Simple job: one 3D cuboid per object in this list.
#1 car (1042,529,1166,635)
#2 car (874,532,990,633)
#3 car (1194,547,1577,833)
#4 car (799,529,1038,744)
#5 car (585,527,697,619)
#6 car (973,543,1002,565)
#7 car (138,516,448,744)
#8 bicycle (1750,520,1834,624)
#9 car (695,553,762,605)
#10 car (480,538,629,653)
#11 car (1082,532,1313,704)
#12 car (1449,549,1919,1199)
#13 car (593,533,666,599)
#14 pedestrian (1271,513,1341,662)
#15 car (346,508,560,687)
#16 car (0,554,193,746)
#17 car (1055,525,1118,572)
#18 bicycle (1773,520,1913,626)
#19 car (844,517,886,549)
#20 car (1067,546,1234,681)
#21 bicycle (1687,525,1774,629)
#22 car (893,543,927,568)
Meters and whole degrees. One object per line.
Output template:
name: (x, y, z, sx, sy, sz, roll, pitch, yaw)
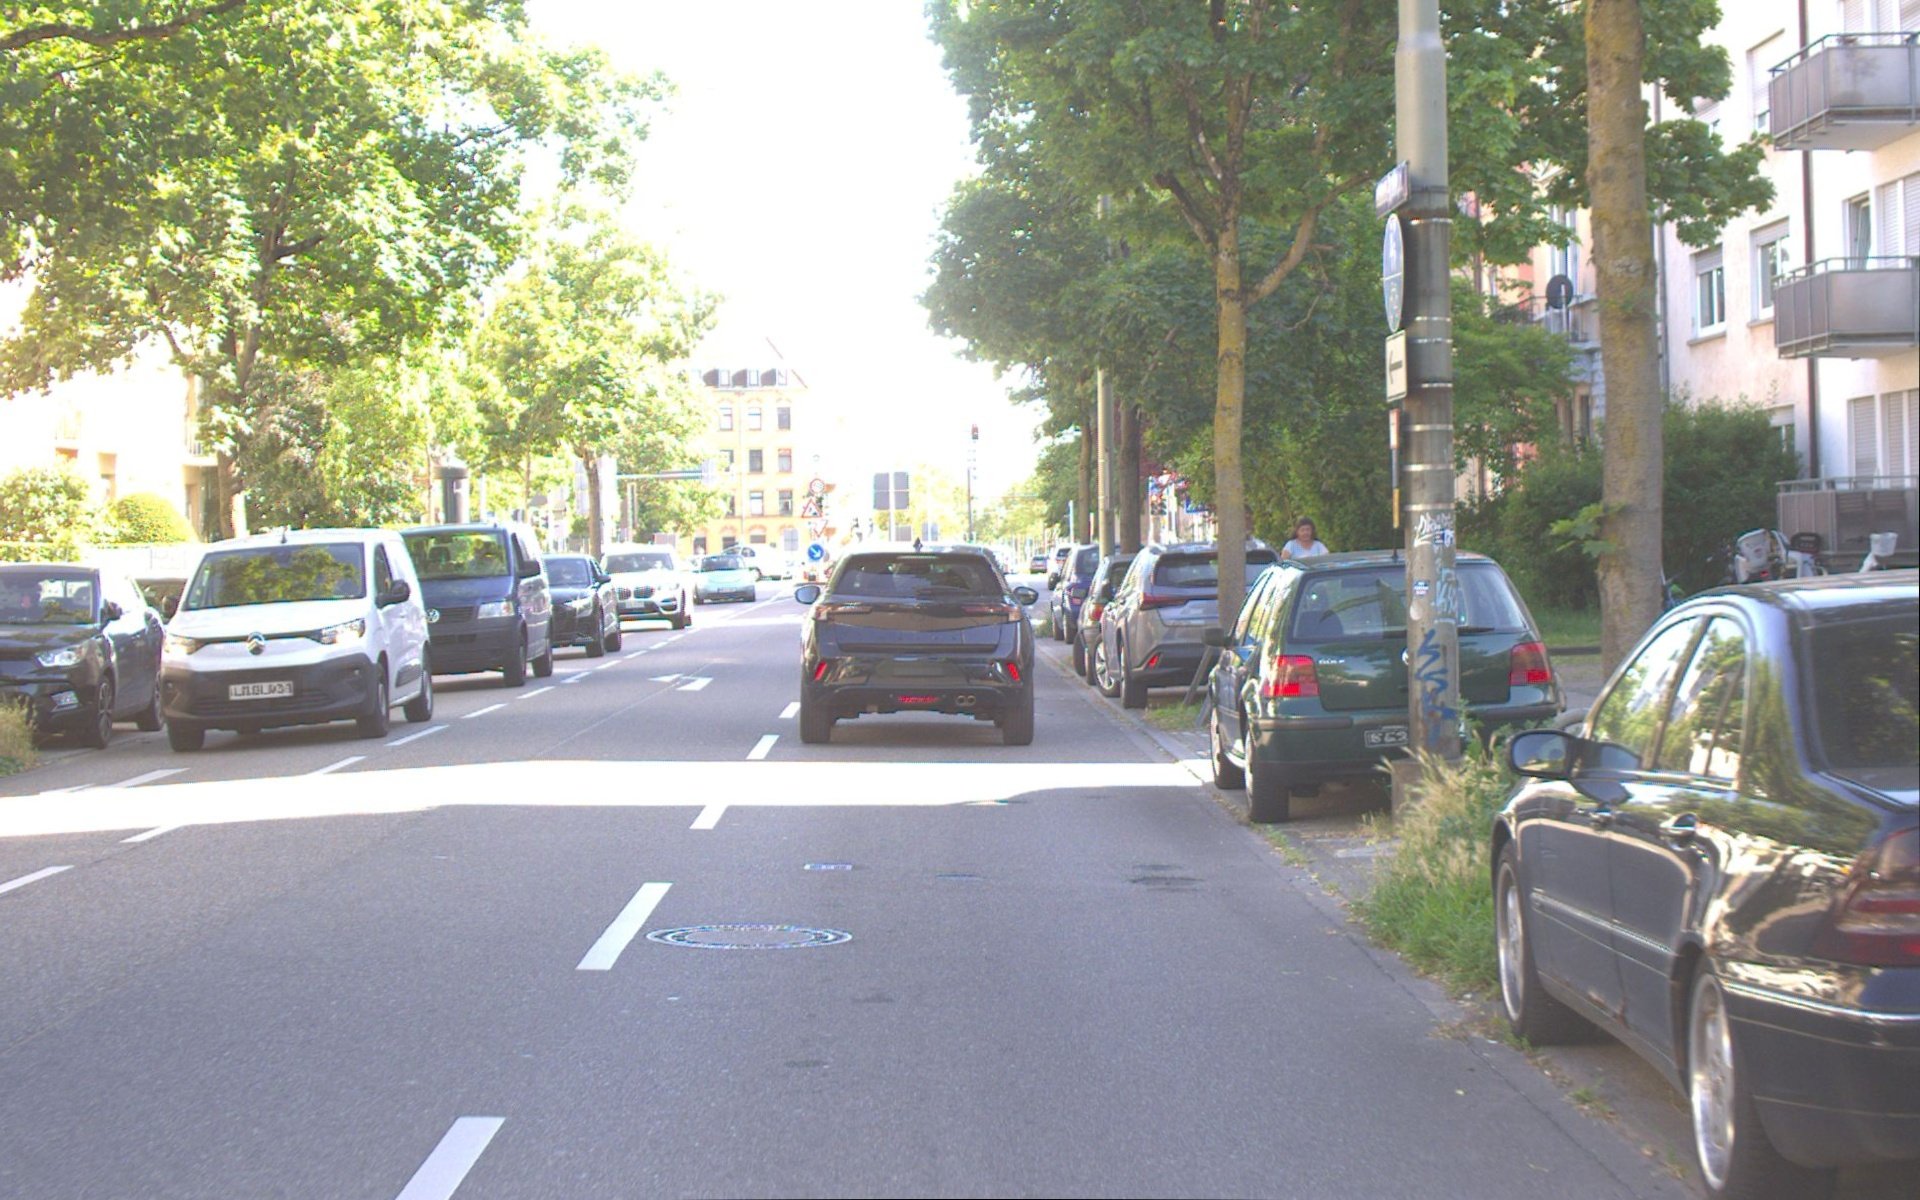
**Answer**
car: (2.217, -0.299, 53.741, 1.559, 1.510, 3.655, -3, 1, -2)
car: (-0.457, -0.318, 57.353, 1.830, 1.573, 3.839, -1, 1, 0)
car: (2.336, 0.433, 19.795, 1.692, 1.423, 4.147, -2, 1, 1)
car: (-0.331, 0.245, 27.050, 1.745, 1.568, 3.558, 0, 1, -1)
car: (-6.274, -0.556, 68.064, 1.806, 1.642, 4.673, -3, 1, -1)
car: (1.957, -3.227, 243.066, 1.993, 1.514, 4.000, 1, 1, 1)
car: (-5.694, 0.204, 29.869, 1.815, 1.737, 4.493, -3, 1, -1)
bicycle: (10.708, -0.366, 44.279, 0.591, 1.283, 1.689, -4, 1, 0)
car: (-6.780, -0.621, 100.975, 1.737, 1.377, 3.937, -2, 1, -2)
car: (-6.084, -0.100, 51.991, 1.719, 1.560, 4.343, -4, 1, -1)
car: (2.190, 0.124, 32.708, 1.714, 1.484, 4.235, -2, 1, -2)
car: (2.378, 0.606, 8.702, 1.586, 1.391, 4.454, -3, 1, 0)
car: (-9.514, -0.993, 99.143, 1.818, 1.827, 4.563, -1, 1, -2)
pedestrian: (3.969, -0.153, 39.463, 0.669, 1.676, 0.776, -2, 1, -1)
car: (-5.964, -0.067, 40.931, 1.803, 1.904, 4.712, -3, 1, -1)
car: (-8.174, 0.389, 30.825, 1.722, 1.591, 4.136, 0, 1, -1)
car: (4.002, -1.640, 109.353, 1.830, 1.447, 3.988, -1, 1, 0)
bicycle: (10.879, -0.331, 42.386, 1.537, 1.218, 0.463, -3, 1, 30)
car: (-4.483, -3.165, 162.875, 1.772, 1.447, 3.885, -1, 1, 1)
car: (2.080, 0.112, 38.416, 1.612, 1.379, 3.976, -2, 1, 0)
bicycle: (9.927, -0.306, 44.335, 0.623, 1.283, 1.842, -4, 1, 0)
car: (-2.932, -2.632, 201.732, 1.810, 1.402, 4.000, -1, 1, 2)
